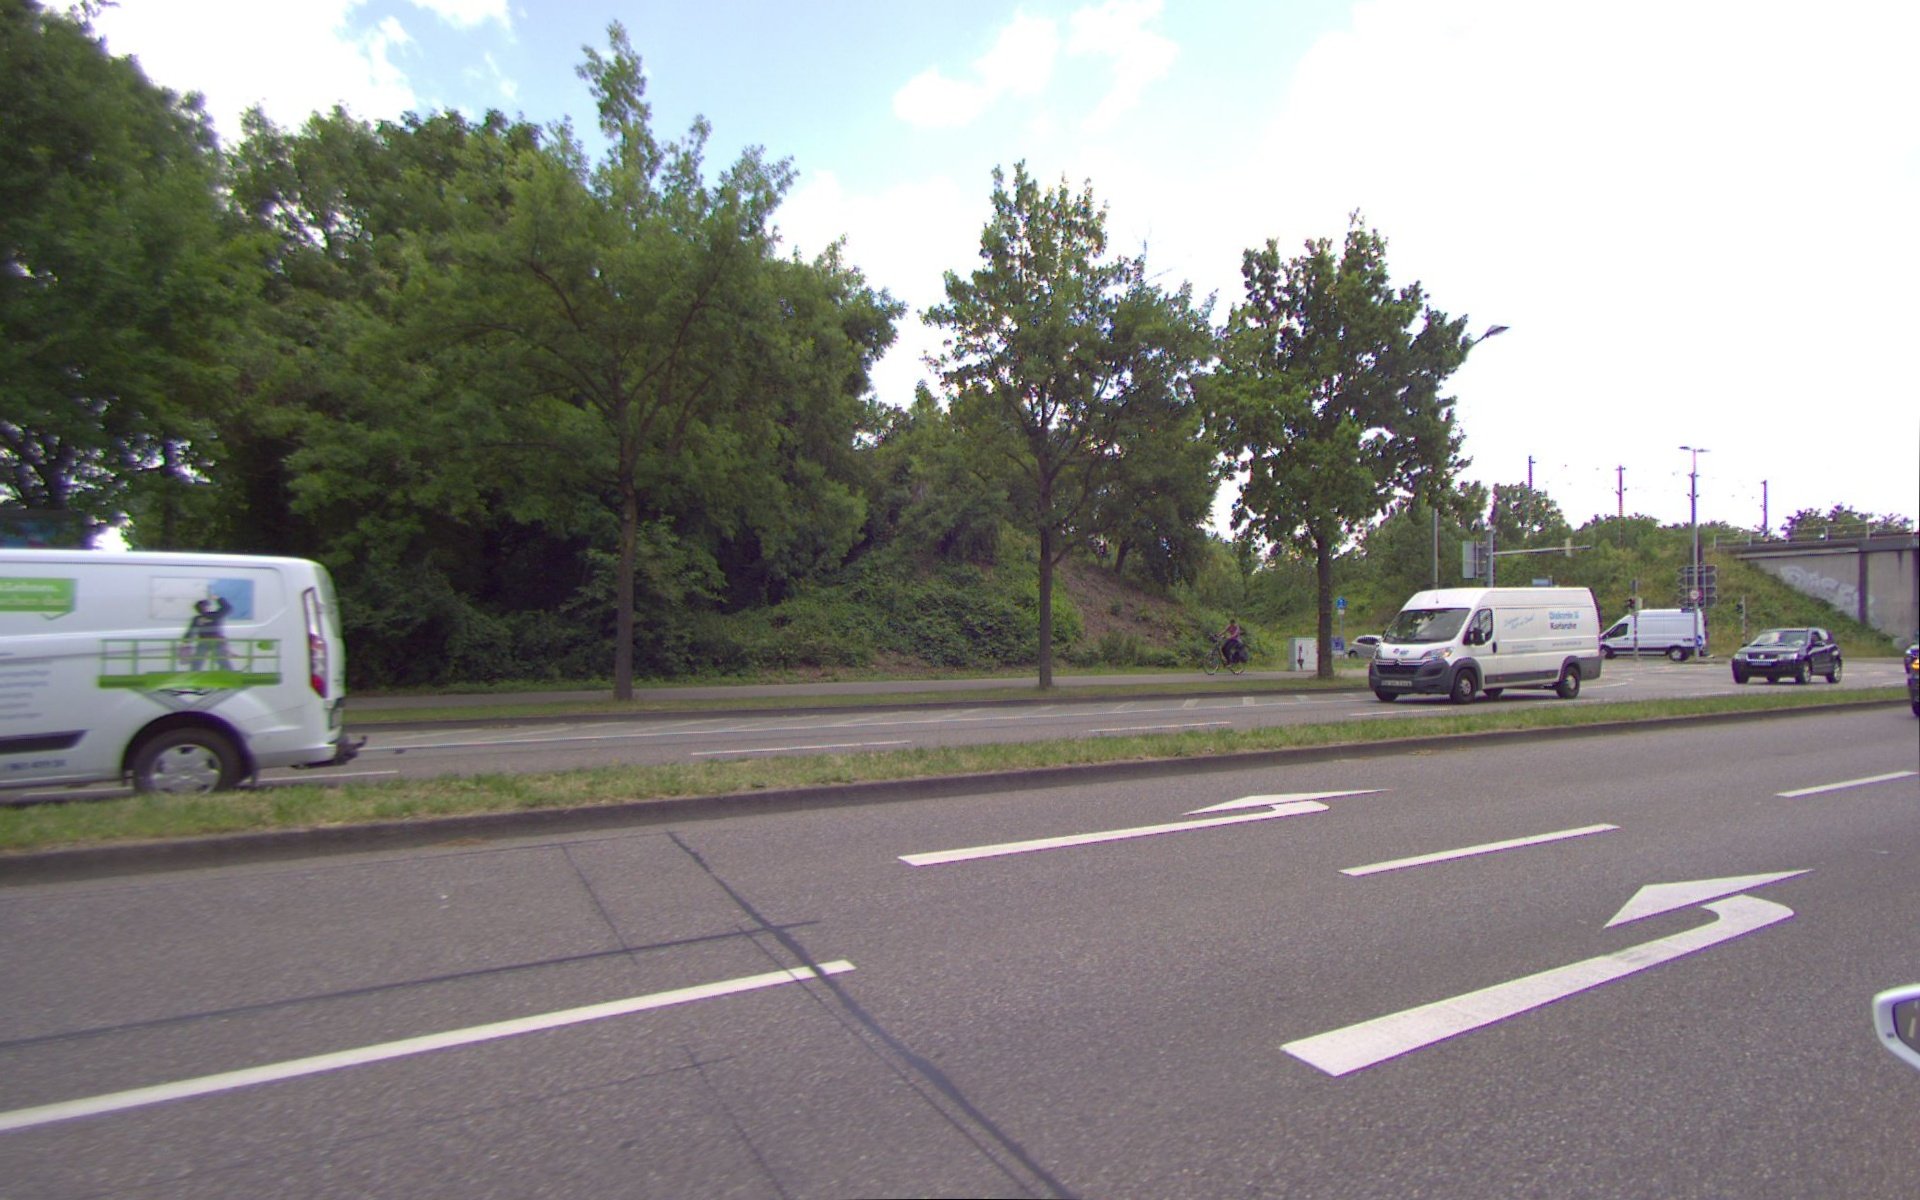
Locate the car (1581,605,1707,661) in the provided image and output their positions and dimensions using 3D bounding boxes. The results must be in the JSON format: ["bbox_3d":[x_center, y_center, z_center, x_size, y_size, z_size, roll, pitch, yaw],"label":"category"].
[{"bbox_3d":[37.019,1.796,54.441,5.341,2.859,2.373,-2,-2,43],"label":"car"}]

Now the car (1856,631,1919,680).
[{"bbox_3d":[36.425,2.089,38.487,3.953,1.550,1.916,1,5,-31],"label":"car"}]

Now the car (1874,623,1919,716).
[{"bbox_3d":[17.272,1.126,16.555,4.776,1.434,1.984,1,0,-31],"label":"car"}]

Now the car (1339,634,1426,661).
[{"bbox_3d":[23.134,2.589,55.160,1.972,1.397,4.298,1,-2,-24],"label":"car"}]

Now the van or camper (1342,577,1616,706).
[{"bbox_3d":[11.974,0.891,22.936,6.985,2.573,2.339,1,-1,-32],"label":"van or camper"}]

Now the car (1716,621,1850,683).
[{"bbox_3d":[25.563,1.580,31.174,4.173,1.789,1.983,1,-2,-32],"label":"car"}]

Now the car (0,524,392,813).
[{"bbox_3d":[-7.374,0.499,7.754,5.136,1.989,2.179,1,-2,-32],"label":"car"}]

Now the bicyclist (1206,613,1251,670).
[{"bbox_3d":[8.448,1.296,31.617,0.984,1.770,0.889,1,0,-27],"label":"bicyclist"}]

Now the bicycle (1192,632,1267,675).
[{"bbox_3d":[8.513,1.666,31.705,2.364,1.287,0.818,1,0,-30],"label":"bicycle"}]
